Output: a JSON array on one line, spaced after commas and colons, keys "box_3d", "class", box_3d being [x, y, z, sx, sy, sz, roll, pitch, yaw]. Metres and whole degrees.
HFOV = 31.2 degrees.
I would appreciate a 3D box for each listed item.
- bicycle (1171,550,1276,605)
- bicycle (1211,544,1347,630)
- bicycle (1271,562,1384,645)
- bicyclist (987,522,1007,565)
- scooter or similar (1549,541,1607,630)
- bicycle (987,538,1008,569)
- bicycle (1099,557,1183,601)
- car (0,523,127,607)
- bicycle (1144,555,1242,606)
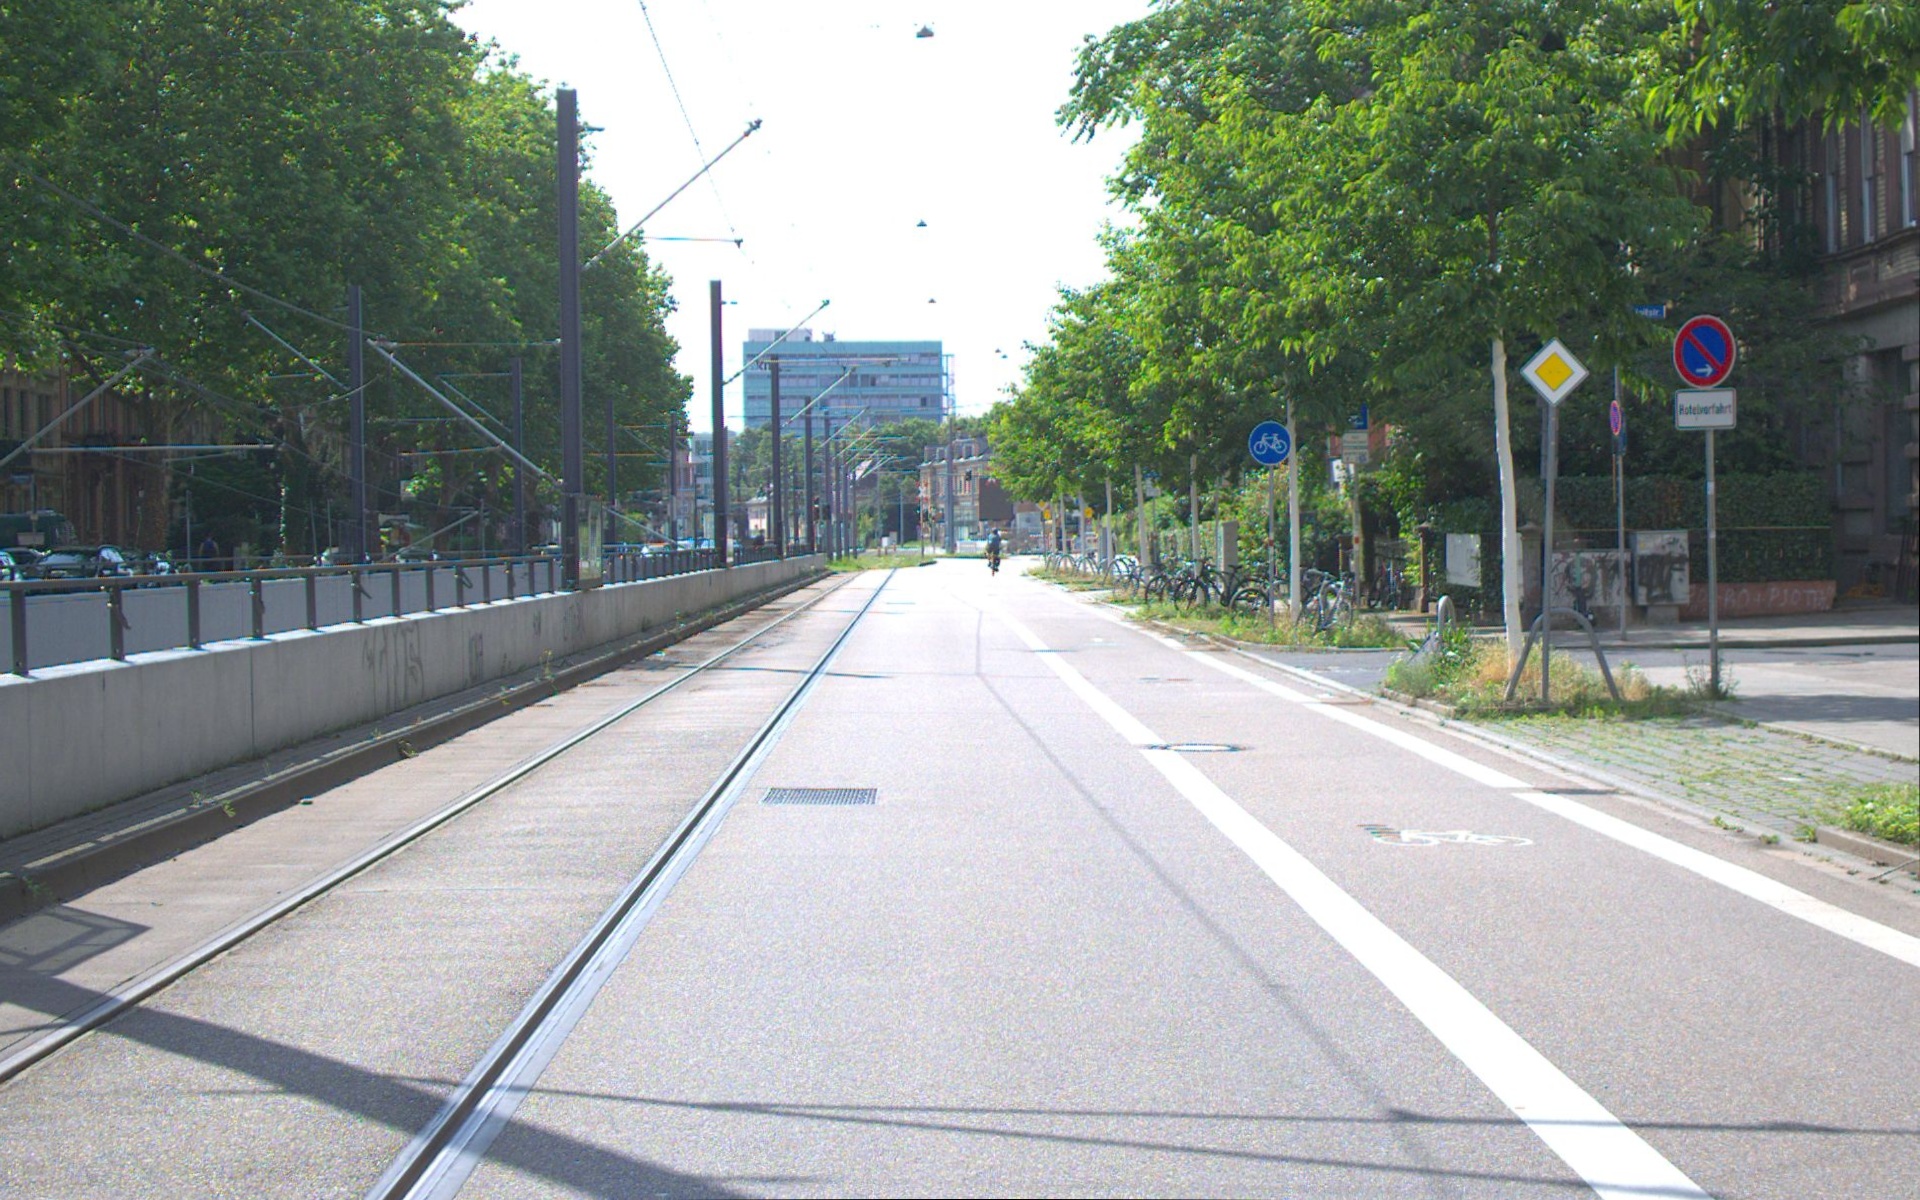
[{"box_3d": [4.822, -0.415, 62.962, 1.816, 0.899, 0.652, -3, 1, -3], "class": "bicycle"}, {"box_3d": [4.662, -0.195, 50.321, 1.815, 1.141, 0.652, -3, 1, -11], "class": "bicycle"}, {"box_3d": [4.816, 0.036, 45.150, 0.649, 1.035, 1.822, -4, 2, -22], "class": "bicycle"}, {"box_3d": [1.503, -2.272, 138.702, 0.770, 1.724, 1.026, -1, 1, 0], "class": "bicyclist"}, {"box_3d": [8.349, -0.204, 46.460, 0.461, 1.154, 1.573, -2, 1, 0], "class": "scooter or similar"}, {"box_3d": [1.505, -1.888, 138.770, 0.799, 1.232, 2.778, -1, 1, 0], "class": "bicycle"}, {"box_3d": [4.169, -0.492, 79.164, 1.816, 0.899, 0.604, -3, 1, -3], "class": "bicycle"}, {"box_3d": [-20.261, -0.816, 77.734, 1.839, 1.722, 4.000, -3, 1, -1], "class": "car"}, {"box_3d": [4.596, -0.390, 67.899, 1.816, 0.899, 0.604, -3, 1, -3], "class": "bicycle"}]
